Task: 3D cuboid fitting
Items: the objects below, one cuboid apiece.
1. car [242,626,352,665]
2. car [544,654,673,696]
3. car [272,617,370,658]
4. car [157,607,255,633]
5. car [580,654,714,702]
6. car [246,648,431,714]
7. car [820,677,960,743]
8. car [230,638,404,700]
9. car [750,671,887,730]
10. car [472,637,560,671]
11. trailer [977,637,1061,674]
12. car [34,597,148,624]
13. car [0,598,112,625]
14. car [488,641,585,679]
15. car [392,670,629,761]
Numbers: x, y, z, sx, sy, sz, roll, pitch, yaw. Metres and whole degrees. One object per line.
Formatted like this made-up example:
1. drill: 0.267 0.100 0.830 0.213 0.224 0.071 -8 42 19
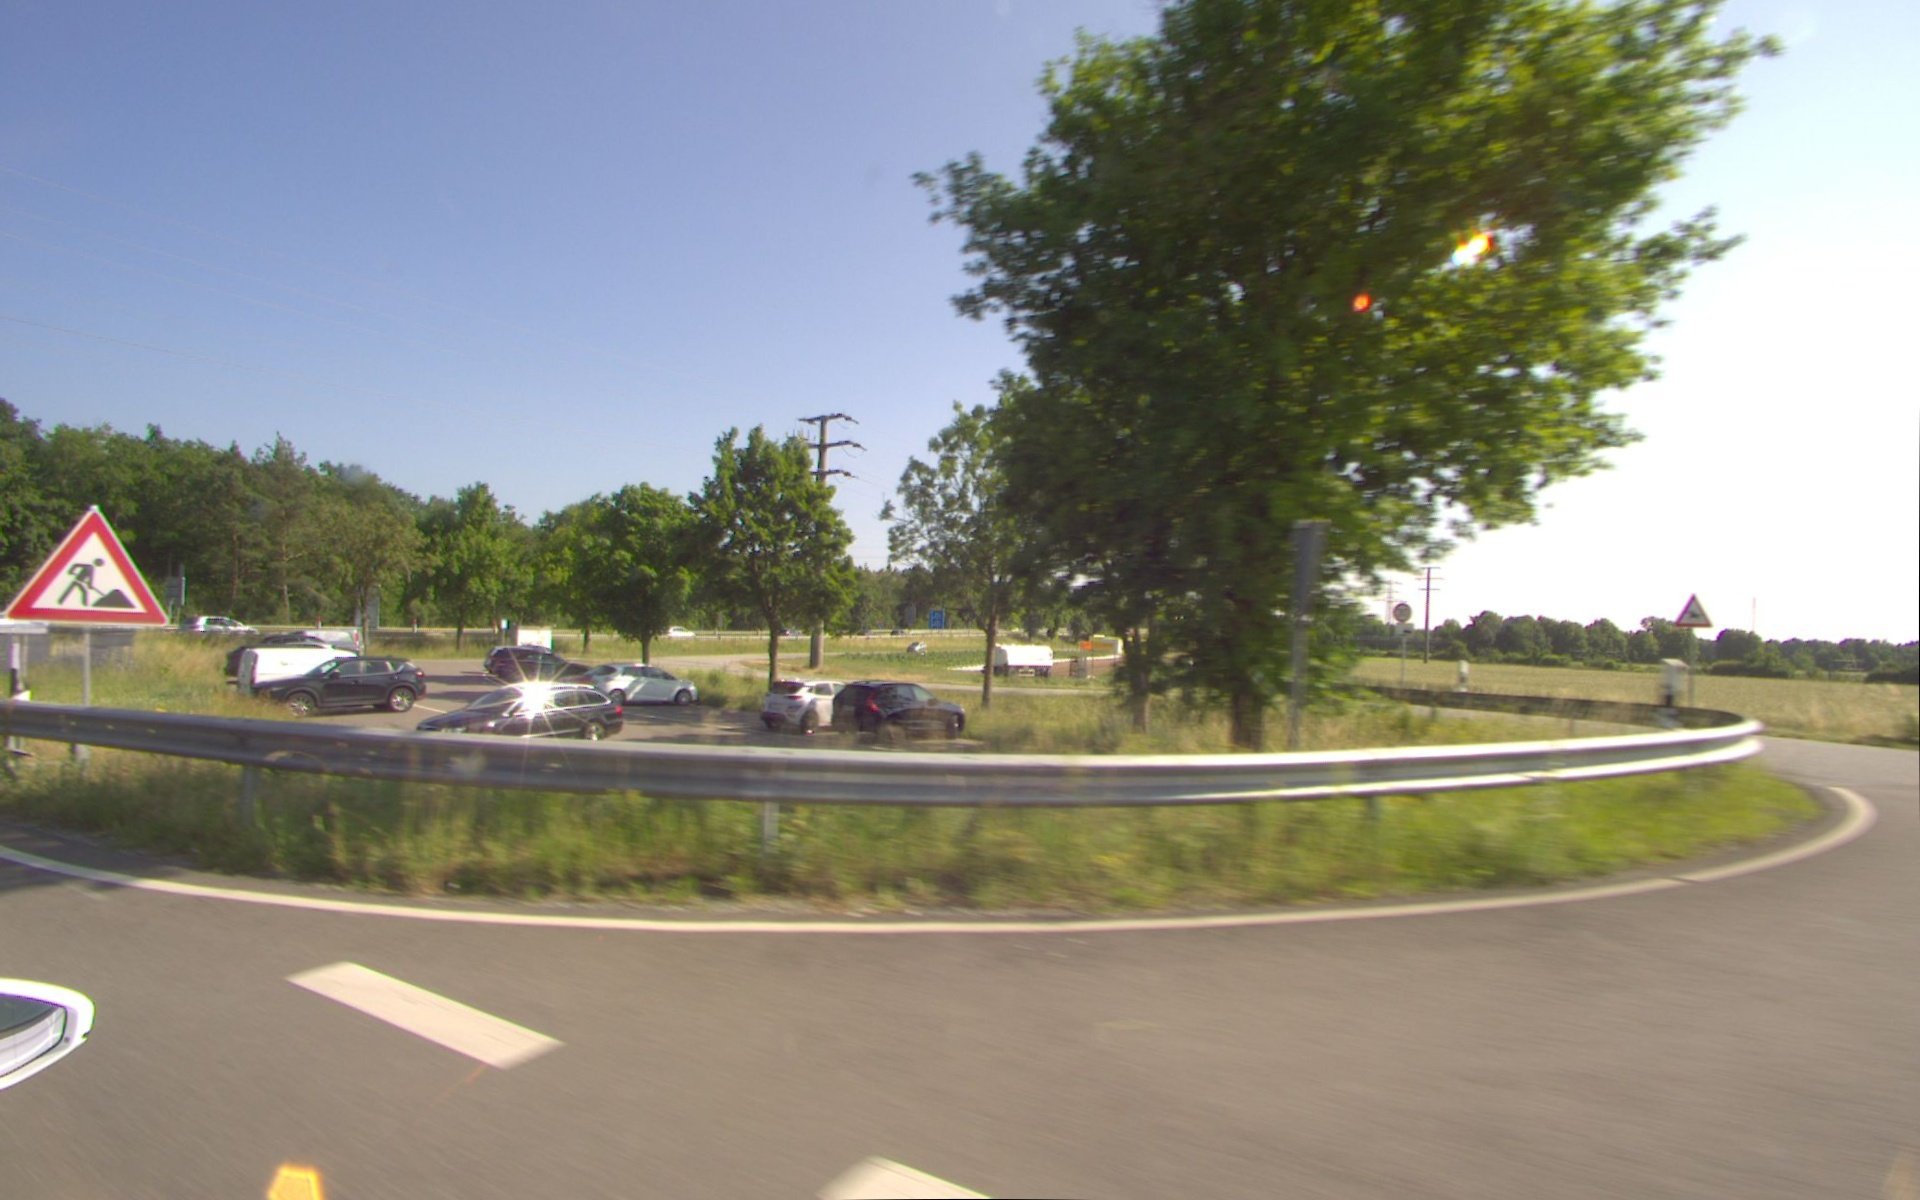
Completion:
1. car: -30.769 2.124 46.606 3.941 1.639 1.884 4 -3 -26
2. car: -13.675 2.933 39.076 4.325 1.465 1.983 5 -3 -41
3. car: -33.287 1.990 52.290 3.935 1.900 1.887 4 -3 -21
4. car: -44.747 1.162 59.516 1.966 1.479 4.230 0 0 23
5. car: -11.735 2.959 37.701 4.325 1.609 1.983 5 -3 -41
6. car: -18.601 2.353 30.111 1.880 1.689 4.391 1 0 42
7. car: -1.975 3.143 29.118 1.867 1.686 3.977 0 -4 37
8. car: -20.642 2.203 32.294 1.880 1.806 4.335 1 -3 42
9. car: -4.306 3.063 30.868 1.867 1.600 3.976 0 -4 37
10. car: -23.333 2.862 52.686 3.950 1.600 1.777 5 -3 -33
11. trailer: 4.707 4.452 79.388 2.864 2.704 6.746 1 -2 45
12. car: -52.591 0.587 60.742 1.966 1.572 4.883 0 0 23
13. car: -55.991 0.679 62.033 1.966 1.572 4.883 0 0 23
14. car: -20.222 2.861 47.868 3.950 1.600 1.880 5 -3 -33
15. car: -10.111 2.526 22.890 1.971 1.647 4.645 0 -1 32
